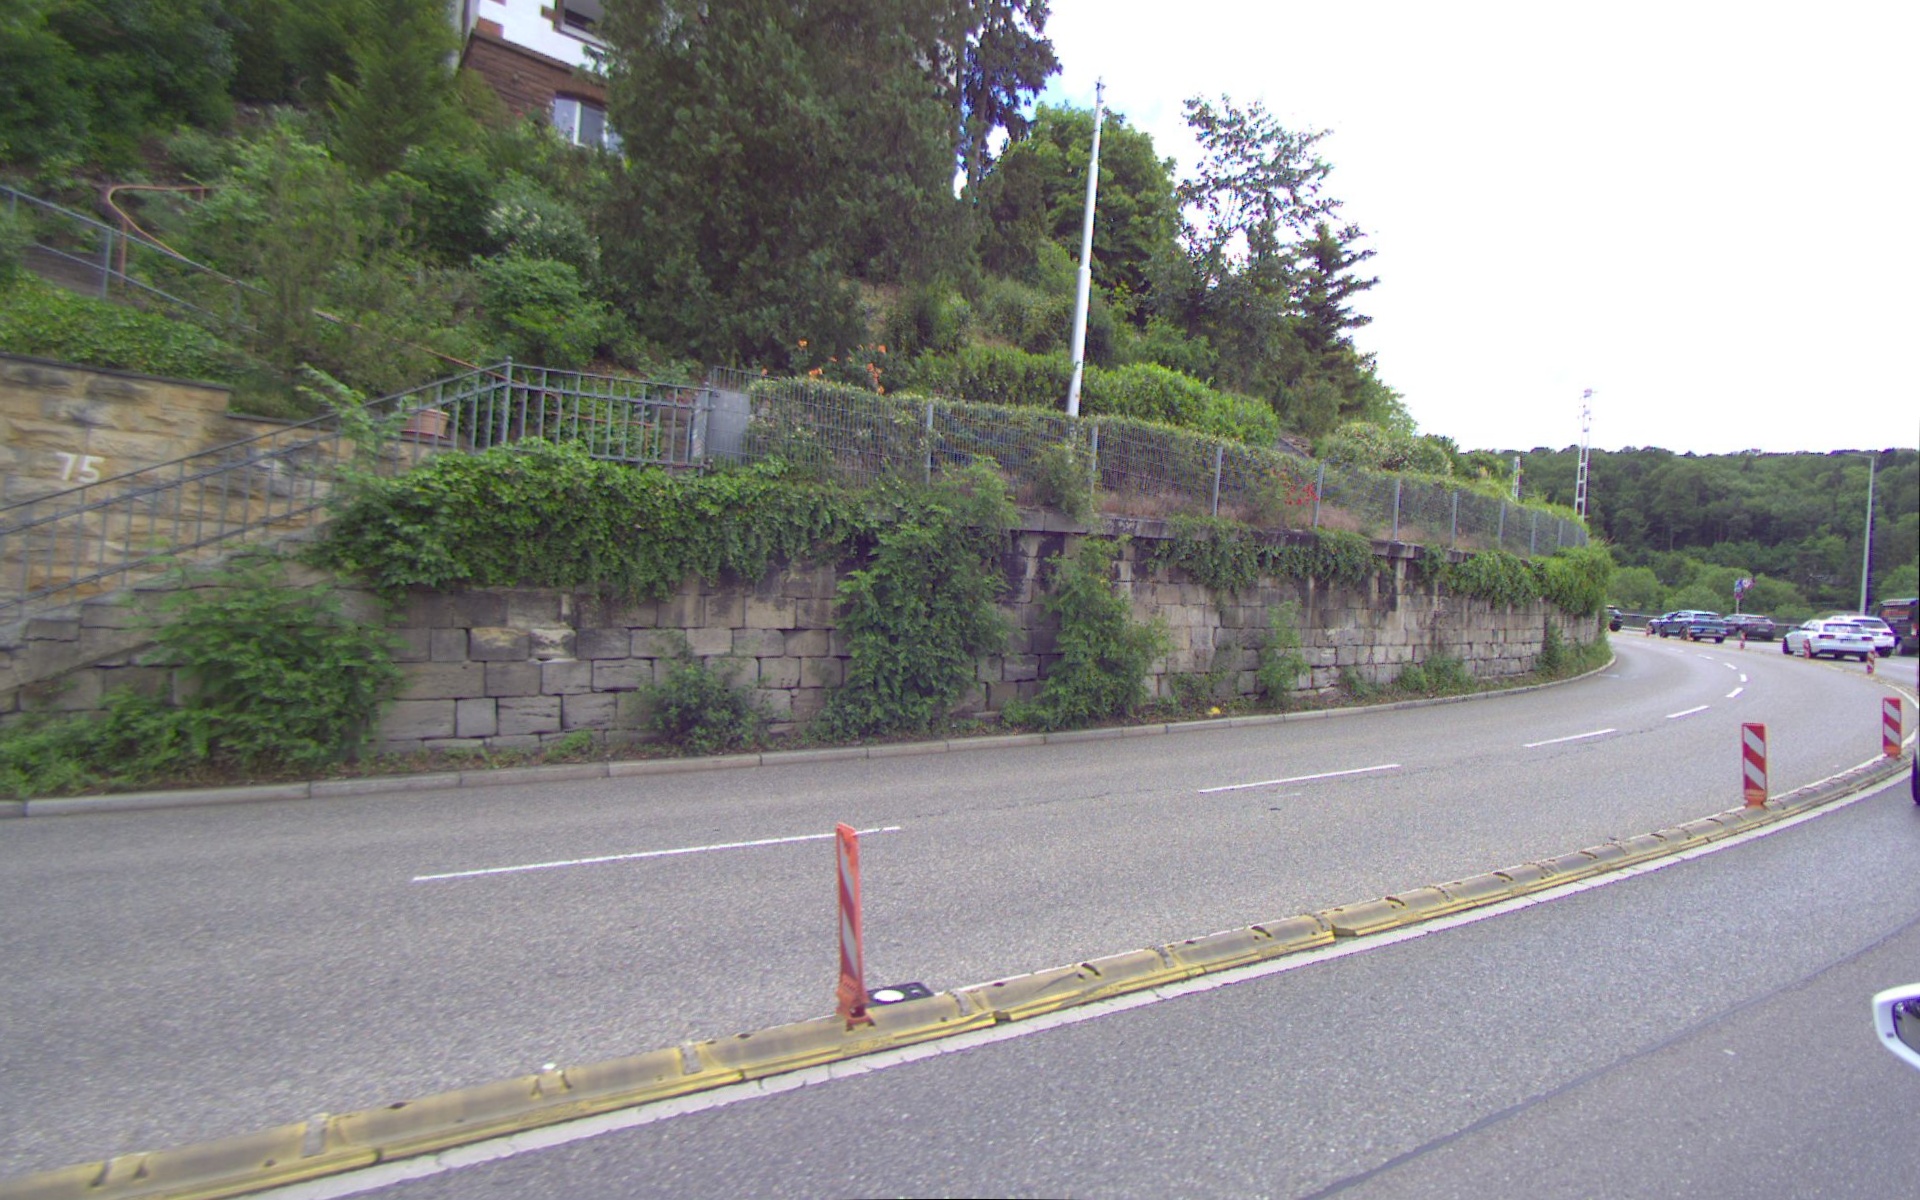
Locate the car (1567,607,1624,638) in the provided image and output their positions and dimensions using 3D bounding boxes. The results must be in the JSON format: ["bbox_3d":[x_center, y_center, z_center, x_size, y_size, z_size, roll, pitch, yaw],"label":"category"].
[{"bbox_3d":[40.766,1.482,64.484,1.838,1.784,4.003,4,-2,14],"label":"car"}]

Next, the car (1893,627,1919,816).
[{"bbox_3d":[9.744,1.005,8.588,4.443,1.479,1.815,2,-1,-37],"label":"car"}]

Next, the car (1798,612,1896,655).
[{"bbox_3d":[37.958,1.418,43.104,1.962,1.741,4.112,0,-1,23],"label":"car"}]

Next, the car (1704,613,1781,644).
[{"bbox_3d":[46.430,1.674,59.714,1.843,1.563,4.092,4,1,11],"label":"car"}]

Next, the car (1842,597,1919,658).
[{"bbox_3d":[42.316,1.170,45.117,2.131,2.555,5.770,1,0,20],"label":"car"}]

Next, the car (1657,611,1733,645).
[{"bbox_3d":[38.447,1.447,52.648,1.960,1.670,4.002,0,-1,17],"label":"car"}]

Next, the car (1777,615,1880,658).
[{"bbox_3d":[33.060,1.367,38.383,1.963,1.523,4.661,1,-1,28],"label":"car"}]
